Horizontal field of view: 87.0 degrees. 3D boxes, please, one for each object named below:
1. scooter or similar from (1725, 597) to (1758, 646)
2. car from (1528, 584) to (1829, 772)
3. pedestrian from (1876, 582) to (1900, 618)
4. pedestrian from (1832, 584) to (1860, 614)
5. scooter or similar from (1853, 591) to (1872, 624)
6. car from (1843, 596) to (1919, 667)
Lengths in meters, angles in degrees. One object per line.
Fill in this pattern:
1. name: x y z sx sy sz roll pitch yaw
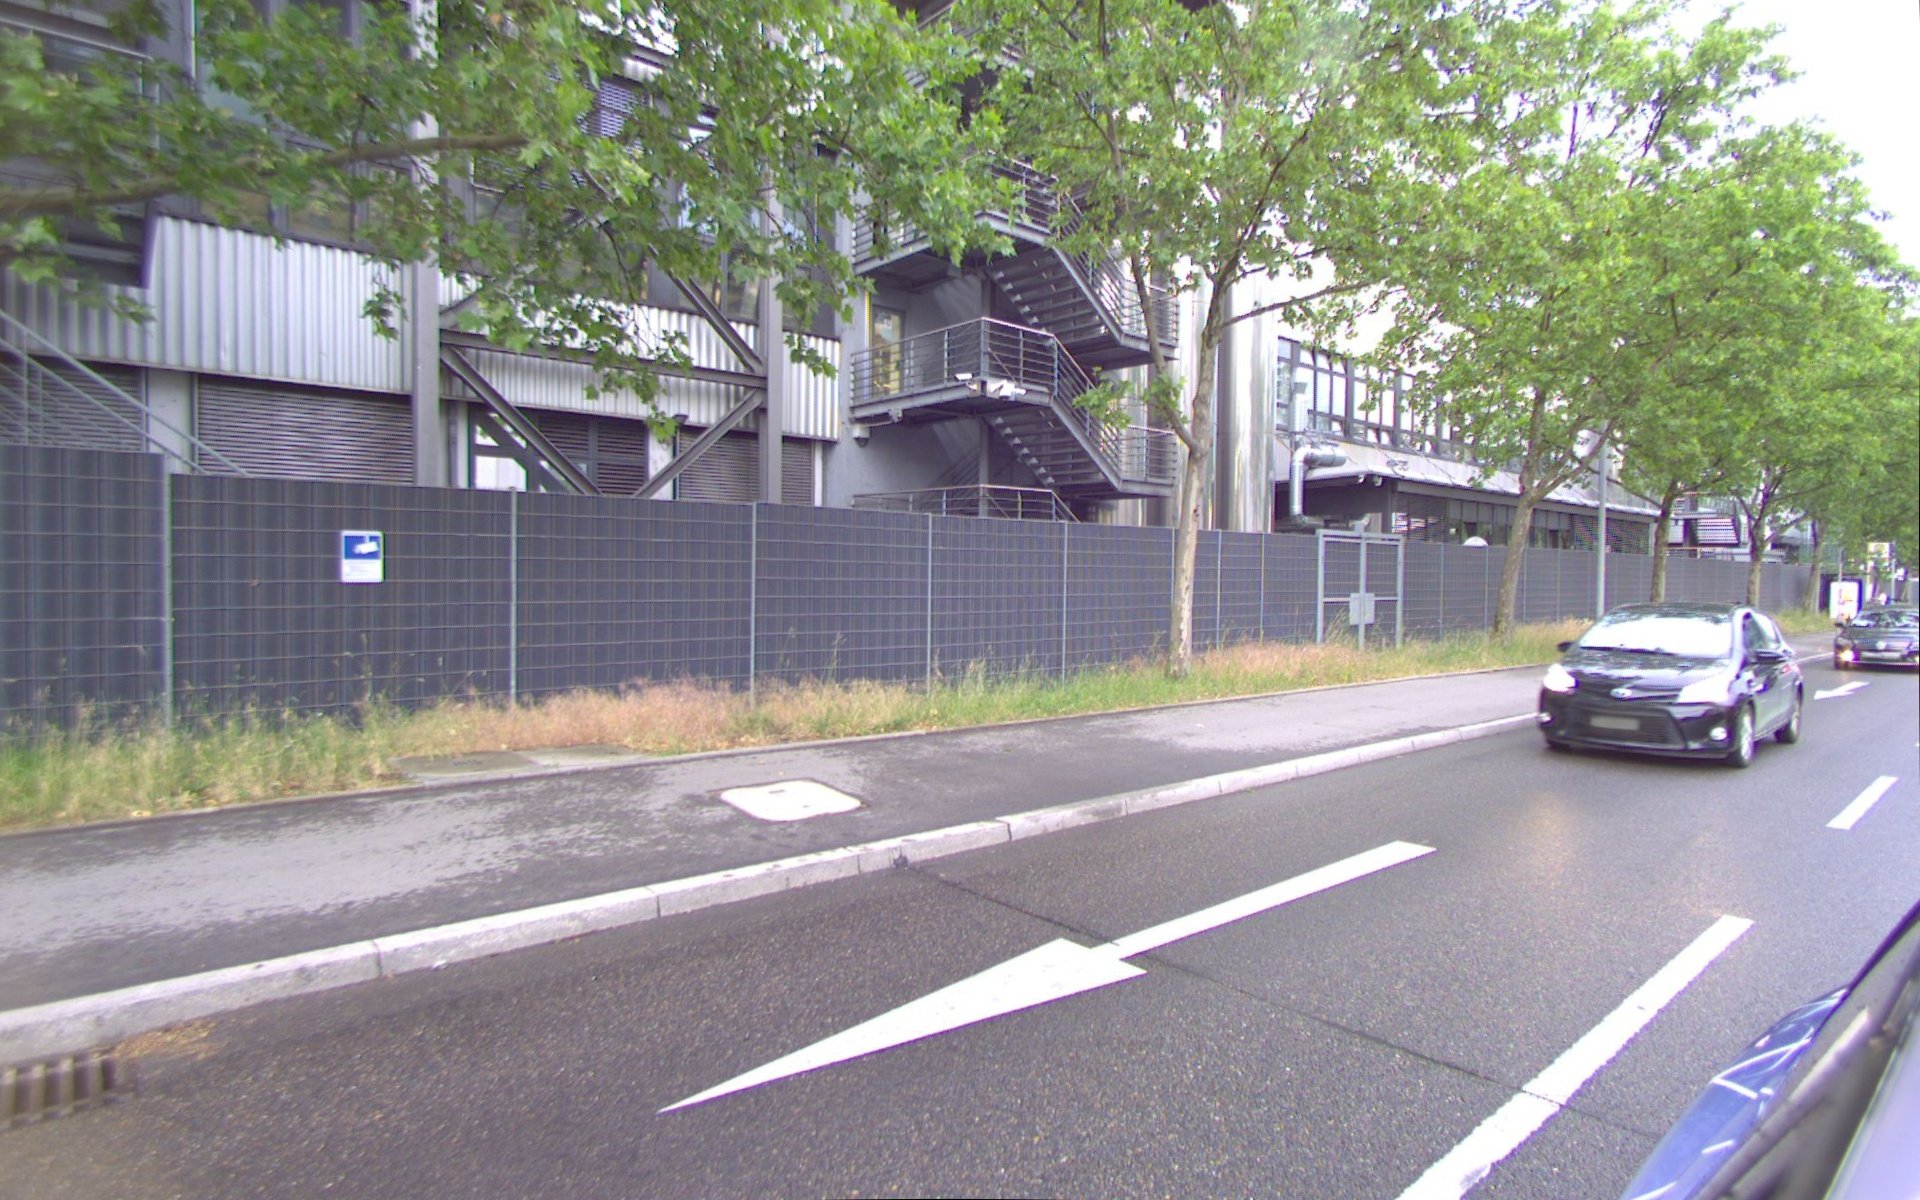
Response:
1. scooter or similar: 20.971 0.559 27.160 1.087 1.285 0.330 0 1 -33
2. car: 7.603 0.634 10.552 4.010 1.512 1.877 0 3 -45
3. pedestrian: 46.460 -0.010 50.653 0.717 1.731 0.777 0 1 -42
4. pedestrian: 43.062 -0.067 49.170 0.686 1.433 0.932 0 1 -42
5. scooter or similar: 37.415 0.313 41.965 1.222 1.325 0.329 0 1 -37
6. car: 21.489 0.644 22.881 4.705 1.471 1.840 0 0 -43
